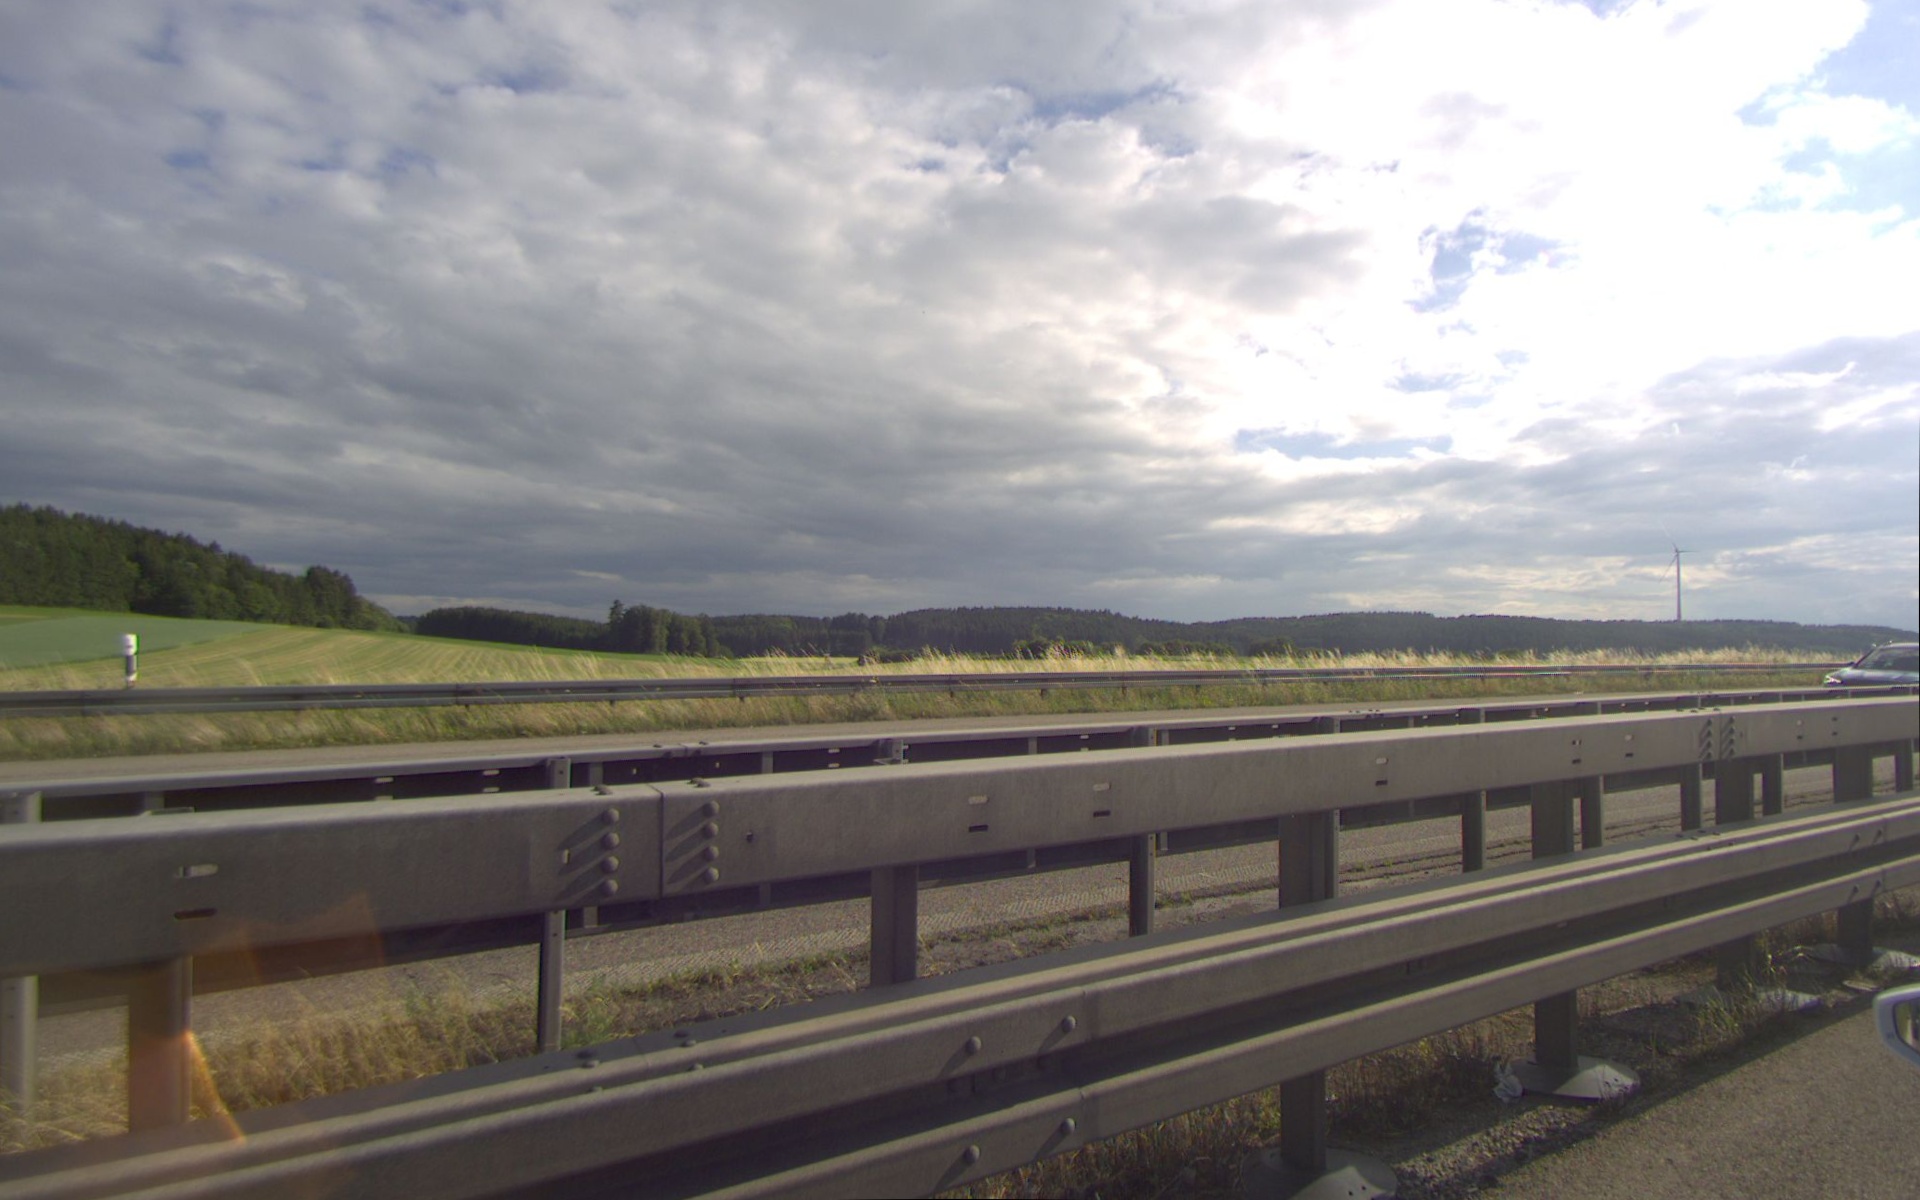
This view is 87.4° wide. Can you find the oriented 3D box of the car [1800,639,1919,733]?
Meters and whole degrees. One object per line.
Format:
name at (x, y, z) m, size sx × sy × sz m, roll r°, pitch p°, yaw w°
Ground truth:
car at (17.208, 1.500, 18.281) m, size 3.953 × 1.504 × 1.724 m, roll 2°, pitch -1°, yaw -30°
